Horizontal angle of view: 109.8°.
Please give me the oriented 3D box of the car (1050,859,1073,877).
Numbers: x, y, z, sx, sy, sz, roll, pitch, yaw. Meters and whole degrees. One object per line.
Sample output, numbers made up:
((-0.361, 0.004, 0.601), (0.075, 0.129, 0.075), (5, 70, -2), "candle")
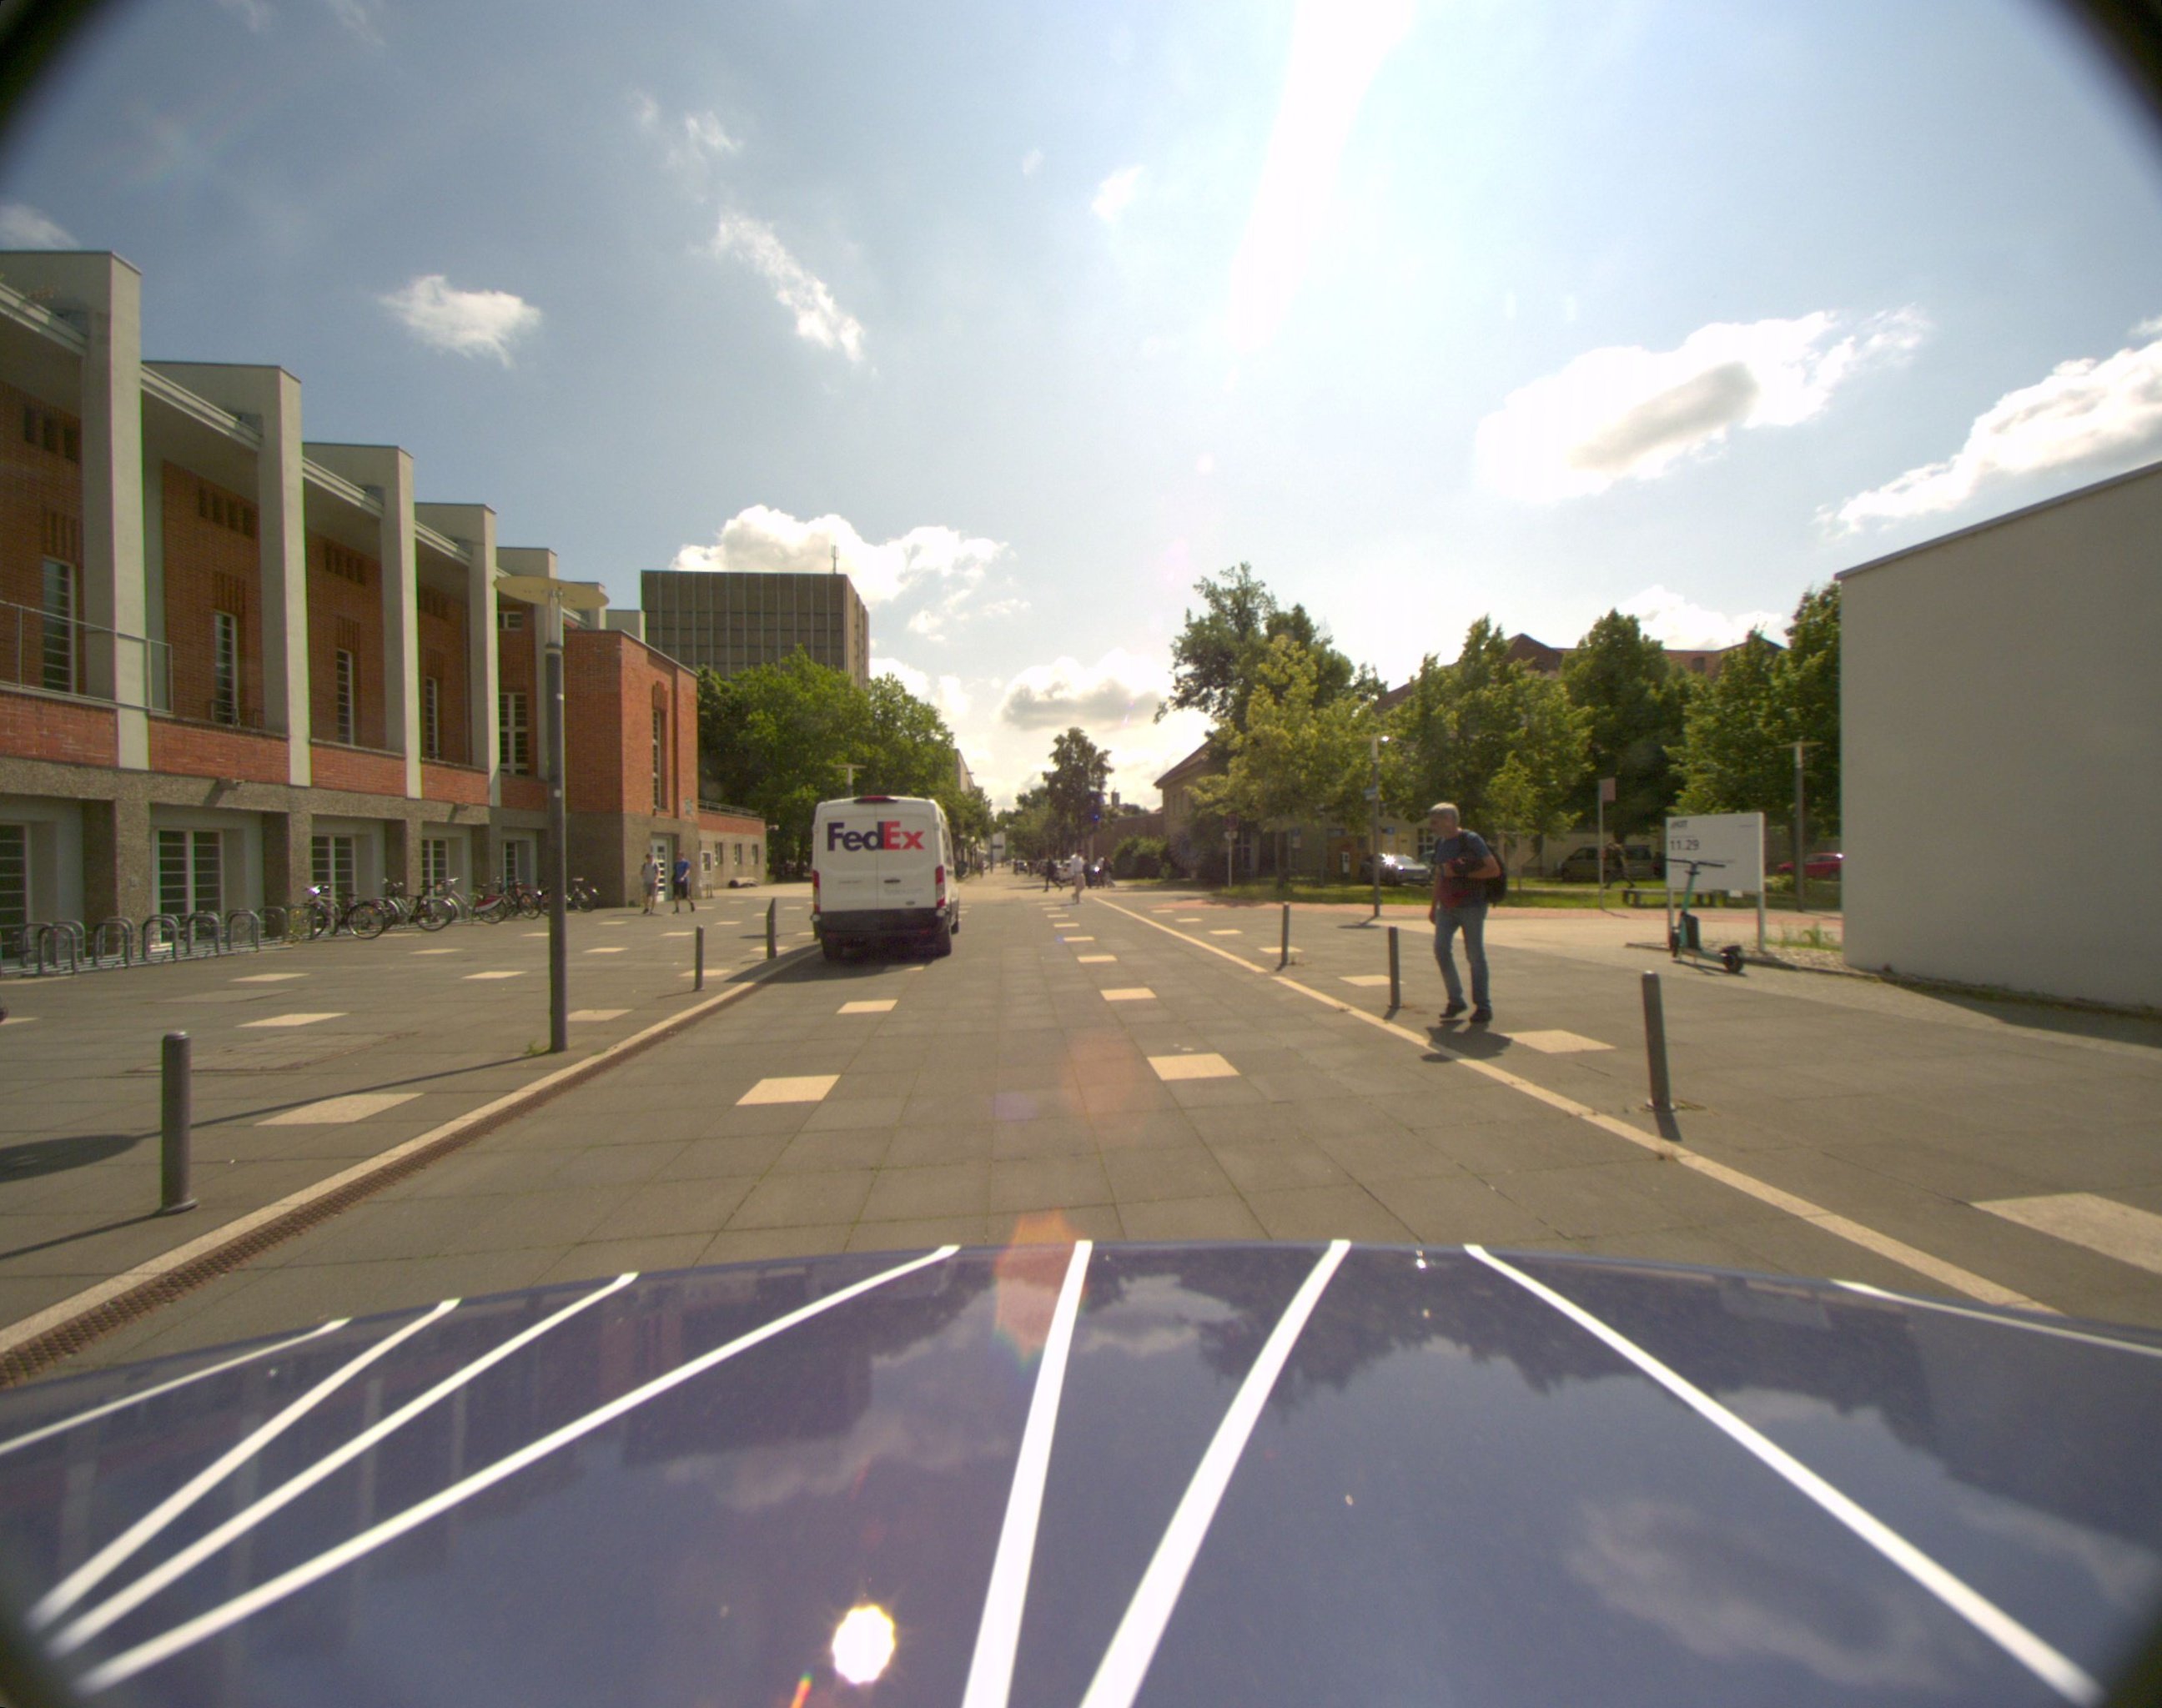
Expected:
((-1.713, 1.137, 64.179), (1.718, 1.424, 3.998), (-1, 0, -5), "car")

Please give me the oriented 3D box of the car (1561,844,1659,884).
((27.444, 0.459, 39.631), (1.812, 1.949, 4.525), (0, 1, -2), "car")

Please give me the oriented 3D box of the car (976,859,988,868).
((-17.850, 1.730, 137.084), (2.000, 1.647, 3.997), (-1, 0, -7), "car")

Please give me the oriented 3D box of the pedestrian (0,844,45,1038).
((-10.516, 0.821, 6.800), (0.847, 1.823, 1.196), (-1, 0, -10), "pedestrian")

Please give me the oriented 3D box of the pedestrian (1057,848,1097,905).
((-0.122, 0.729, 25.365), (1.022, 1.837, 0.918), (1, 0, 25), "pedestrian")

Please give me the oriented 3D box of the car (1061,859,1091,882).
((-0.376, 1.054, 49.499), (1.636, 1.422, 3.631), (-1, 0, -6), "car")

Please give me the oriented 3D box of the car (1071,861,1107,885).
((0.434, 1.069, 43.620), (1.701, 1.287, 3.761), (-1, 0, -5), "car")

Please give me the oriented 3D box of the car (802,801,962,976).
((-3.337, 0.497, 13.977), (2.065, 2.528, 5.846), (-1, 0, -7), "car")

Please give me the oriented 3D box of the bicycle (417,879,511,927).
((-14.854, 1.182, 18.320), (1.802, 1.103, 0.435), (-1, 0, -7), "bicycle")

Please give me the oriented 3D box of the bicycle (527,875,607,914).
((-15.166, 1.198, 22.437), (1.936, 1.103, 0.456), (-1, 0, -7), "bicycle")

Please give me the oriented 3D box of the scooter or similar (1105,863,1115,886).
((1.512, 1.071, 39.785), (0.471, 1.209, 1.204), (-1, 0, 0), "scooter or similar")

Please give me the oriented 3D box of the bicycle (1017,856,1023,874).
((-5.767, 1.032, 71.855), (0.588, 1.670, 1.758), (-1, 0, -4), "bicycle")

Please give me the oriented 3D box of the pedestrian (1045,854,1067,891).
((-1.183, 0.875, 36.138), (0.871, 1.776, 0.569), (0, 0, 15), "pedestrian")

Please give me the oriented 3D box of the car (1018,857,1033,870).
((-7.421, 1.217, 100.891), (1.933, 1.624, 4.370), (-1, 0, -5), "car")

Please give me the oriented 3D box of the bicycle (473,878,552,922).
((-14.914, 1.189, 19.948), (1.655, 1.103, 0.435), (-1, 0, -7), "bicycle")

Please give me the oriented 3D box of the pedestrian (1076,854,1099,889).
((0.339, 0.844, 37.778), (0.623, 1.706, 1.002), (0, 0, -41), "pedestrian")

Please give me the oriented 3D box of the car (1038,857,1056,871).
((-4.076, 1.223, 90.911), (1.933, 1.624, 4.370), (-1, 0, -5), "car")

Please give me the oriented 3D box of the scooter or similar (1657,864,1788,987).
((7.135, 0.753, 8.522), (0.483, 1.255, 1.314), (-1, 0, 7), "scooter or similar")

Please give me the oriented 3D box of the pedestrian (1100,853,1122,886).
((1.528, 0.800, 39.244), (0.970, 1.706, 0.559), (0, 1, 35), "pedestrian")

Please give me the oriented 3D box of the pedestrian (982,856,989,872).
((-8.699, 0.940, 69.234), (0.585, 1.433, 0.638), (0, 0, -4), "pedestrian")

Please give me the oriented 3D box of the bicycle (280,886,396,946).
((-14.500, 1.195, 14.851), (1.688, 1.103, 0.435), (-1, 0, -7), "bicycle")

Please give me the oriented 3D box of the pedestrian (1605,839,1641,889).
((19.861, 0.356, 27.855), (0.871, 1.778, 0.636), (0, 5, 18), "pedestrian")

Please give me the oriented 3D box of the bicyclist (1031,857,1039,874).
((-4.414, 1.083, 72.404), (0.630, 1.596, 1.328), (-1, 0, -7), "bicyclist")

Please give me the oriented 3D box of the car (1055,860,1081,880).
((-1.021, 1.126, 55.851), (1.649, 1.368, 3.998), (-1, 0, -5), "car")

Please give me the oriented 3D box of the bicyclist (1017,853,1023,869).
((-5.773, 0.671, 71.824), (0.588, 1.444, 1.233), (-1, 0, -4), "bicyclist")

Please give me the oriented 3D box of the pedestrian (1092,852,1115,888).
((1.140, 0.808, 38.606), (0.898, 1.776, 0.728), (0, 1, 39), "pedestrian")

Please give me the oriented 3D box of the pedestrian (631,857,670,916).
((-12.587, 0.931, 22.240), (0.586, 1.697, 1.001), (0, 1, -5), "pedestrian")

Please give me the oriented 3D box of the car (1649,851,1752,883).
((32.575, 0.619, 40.120), (1.812, 1.533, 4.121), (0, 1, -6), "car")

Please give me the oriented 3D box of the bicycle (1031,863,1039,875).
((-4.431, 1.410, 72.487), (0.626, 1.134, 1.811), (-1, 0, -7), "bicycle")

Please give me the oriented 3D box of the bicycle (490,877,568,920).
((-14.991, 1.205, 20.640), (1.699, 1.103, 0.435), (-1, 0, -7), "bicycle")

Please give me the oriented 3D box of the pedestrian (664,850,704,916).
((-11.735, 0.832, 22.478), (0.666, 1.879, 1.109), (0, 1, -6), "pedestrian")

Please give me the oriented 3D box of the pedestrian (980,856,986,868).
((-13.794, 1.189, 107.232), (0.587, 1.672, 0.536), (0, 0, -41), "pedestrian")

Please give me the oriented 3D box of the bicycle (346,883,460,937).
((-14.711, 1.205, 16.513), (1.917, 1.103, 0.435), (-1, 0, -7), "bicycle")

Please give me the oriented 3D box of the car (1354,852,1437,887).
((15.831, 0.730, 38.526), (1.900, 1.572, 4.646), (0, 1, -6), "car")

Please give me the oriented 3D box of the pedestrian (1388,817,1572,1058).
((3.279, 0.628, 6.357), (0.826, 1.807, 1.143), (-1, 0, -10), "pedestrian")

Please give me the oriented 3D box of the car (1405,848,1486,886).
((18.387, 0.587, 38.554), (1.812, 1.775, 4.121), (-1, 1, -6), "car")

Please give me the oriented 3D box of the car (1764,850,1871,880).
((40.809, 0.555, 42.240), (1.812, 1.533, 4.122), (0, 1, -3), "car")

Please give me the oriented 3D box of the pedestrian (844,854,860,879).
((-17.932, 0.985, 59.437), (0.984, 1.934, 0.976), (-1, 0, -28), "pedestrian")
